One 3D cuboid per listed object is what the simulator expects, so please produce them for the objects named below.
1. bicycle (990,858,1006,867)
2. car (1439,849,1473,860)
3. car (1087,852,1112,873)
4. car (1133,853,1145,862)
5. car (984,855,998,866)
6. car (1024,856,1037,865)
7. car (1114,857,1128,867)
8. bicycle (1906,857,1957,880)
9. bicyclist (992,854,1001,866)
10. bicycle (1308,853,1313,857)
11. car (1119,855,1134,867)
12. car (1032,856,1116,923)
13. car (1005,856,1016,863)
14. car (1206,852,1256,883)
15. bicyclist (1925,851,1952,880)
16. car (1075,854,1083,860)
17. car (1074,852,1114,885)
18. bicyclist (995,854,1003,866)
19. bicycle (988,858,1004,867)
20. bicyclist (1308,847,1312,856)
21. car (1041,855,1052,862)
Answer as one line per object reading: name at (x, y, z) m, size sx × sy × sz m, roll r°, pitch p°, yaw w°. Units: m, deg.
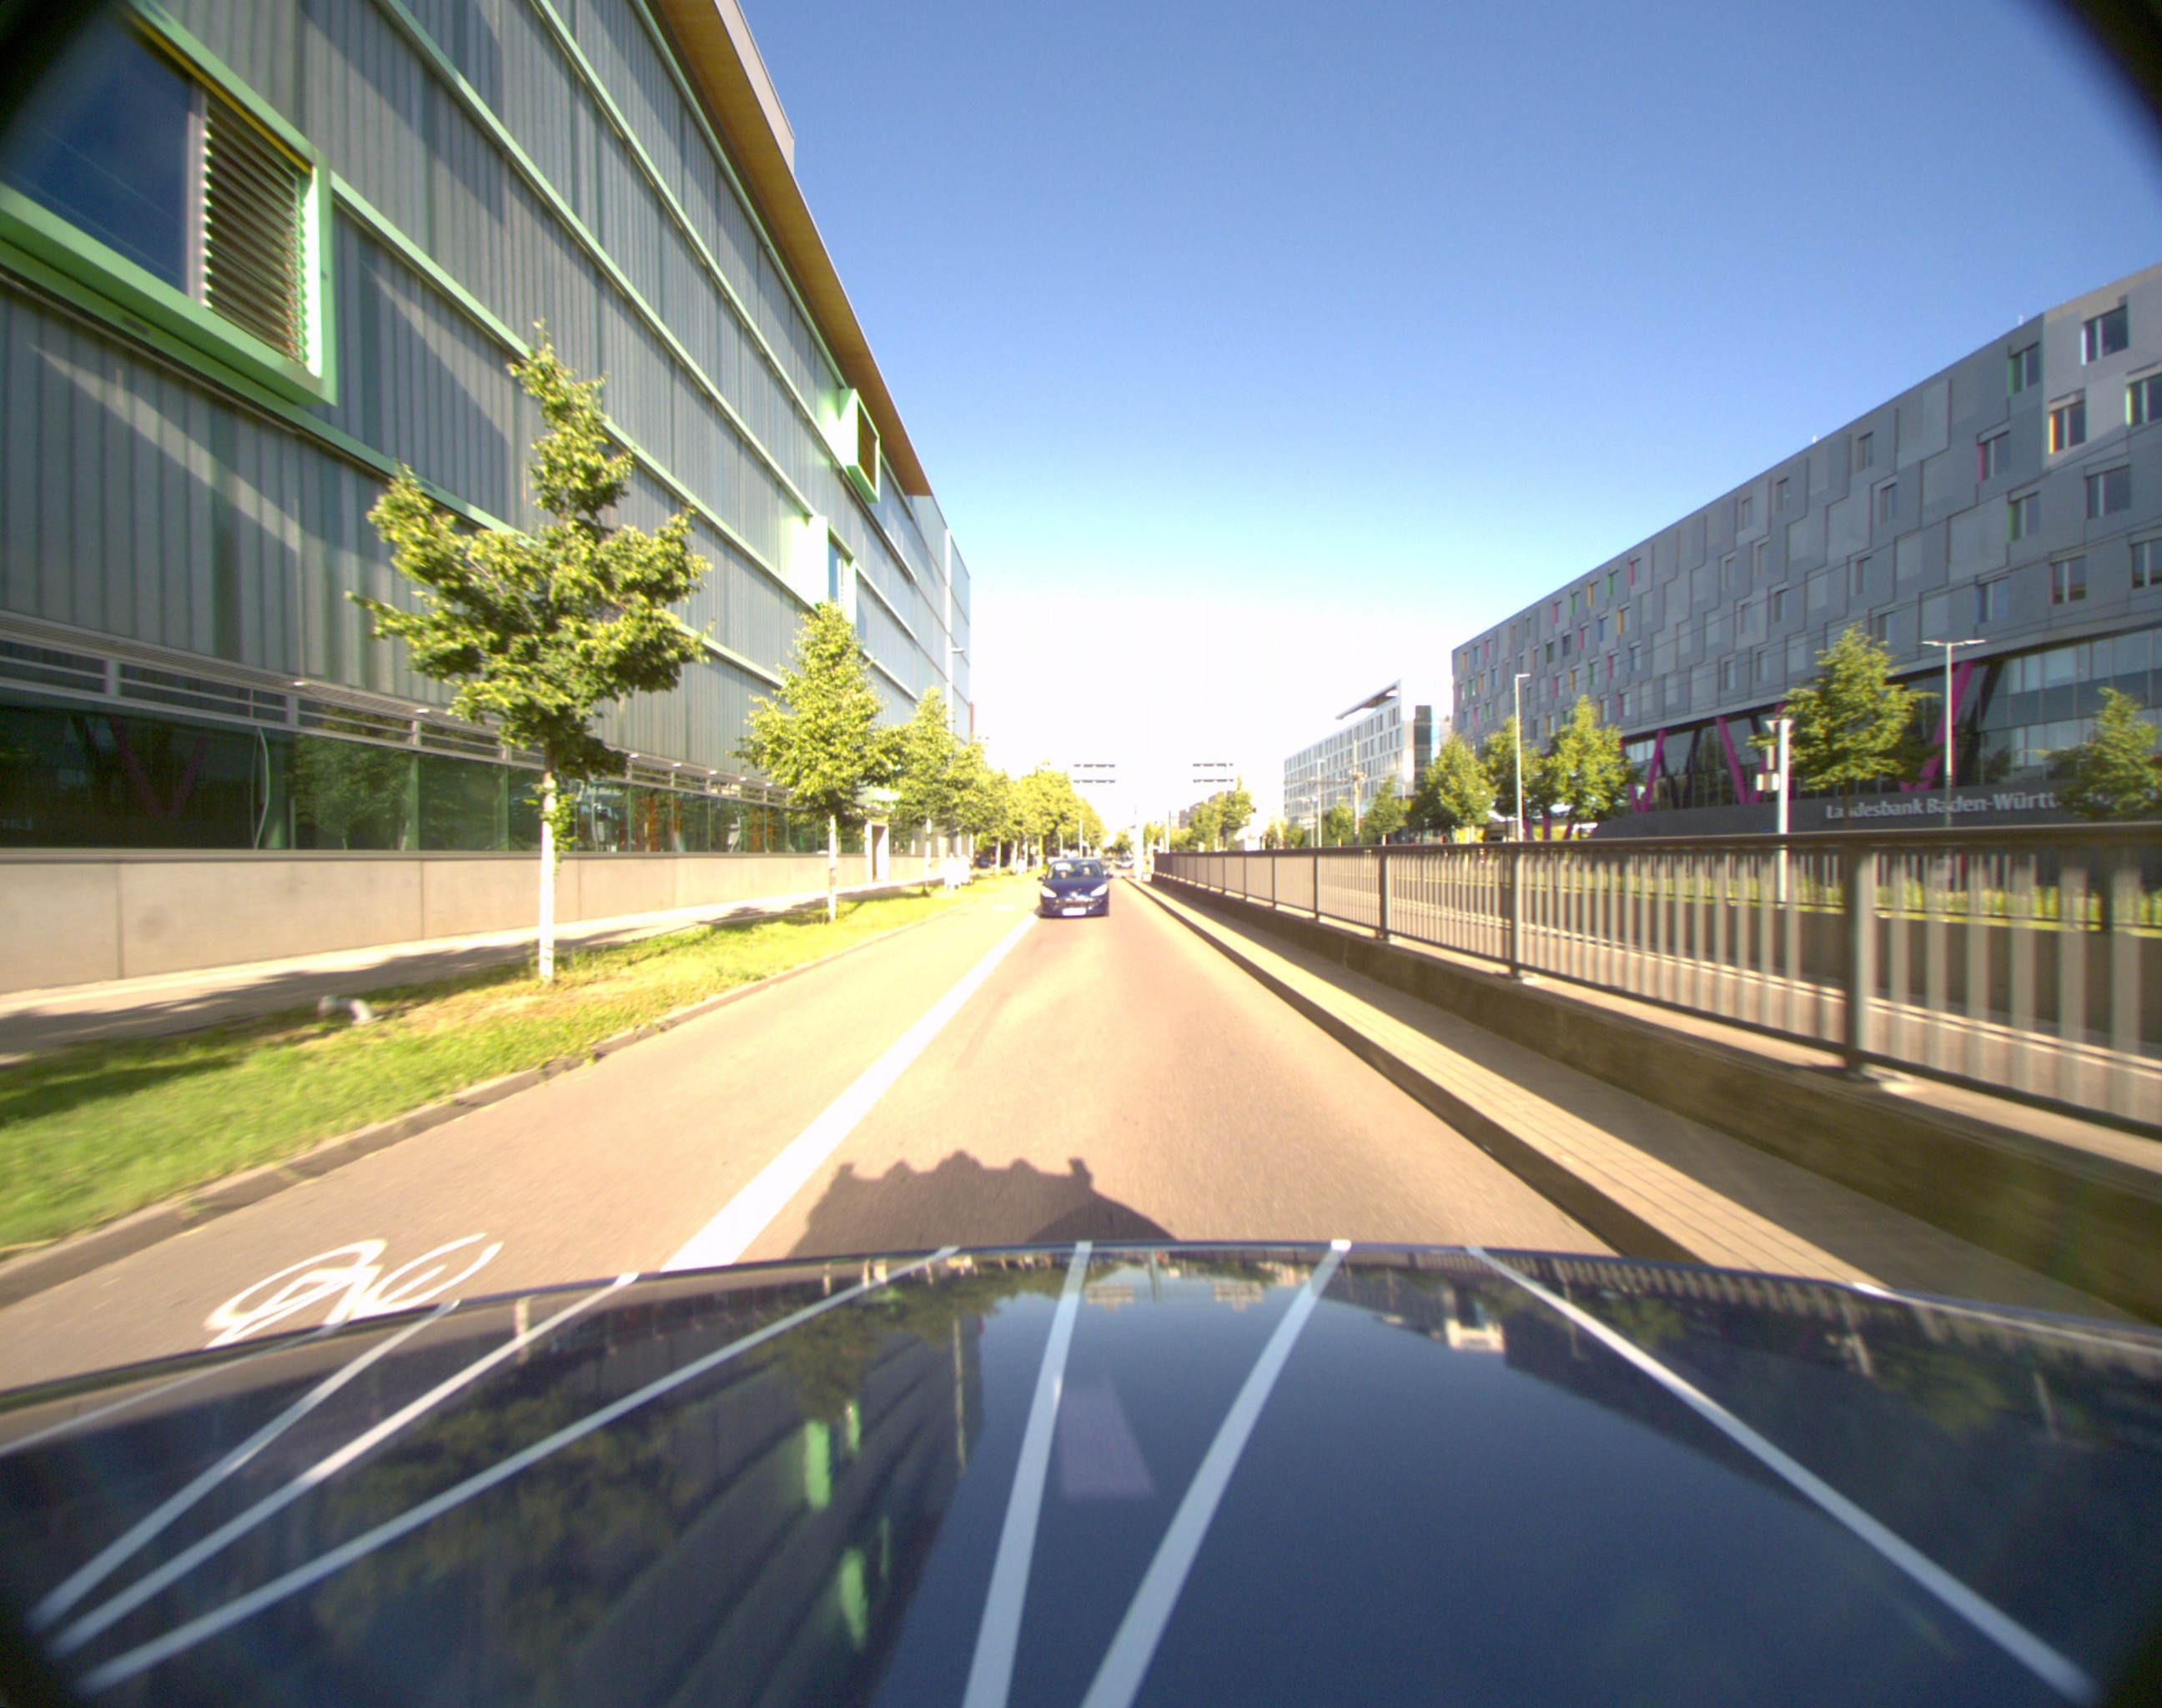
bicycle at (-11.479, 1.173, 105.243) m, size 2.100 × 1.196 × 0.552 m, roll 0°, pitch 0°, yaw 13°
car at (54.163, 0.088, 109.723) m, size 3.995 × 1.556 × 2.001 m, roll 0°, pitch 0°, yaw 4°
car at (1.473, 0.659, 60.055) m, size 1.803 × 1.518 × 4.606 m, roll -2°, pitch 0°, yaw 3°
car at (9.819, 0.567, 129.133) m, size 1.676 × 1.418 × 4.005 m, roll -2°, pitch 0°, yaw -1°
car at (-17.565, 1.186, 148.689) m, size 1.898 × 2.025 × 5.072 m, roll 1°, pitch 0°, yaw 4°
car at (-9.758, 1.239, 147.036) m, size 1.898 × 1.479 × 4.348 m, roll -1°, pitch 0°, yaw 6°
car at (6.211, 1.173, 118.620) m, size 1.840 × 1.483 × 4.005 m, roll -2°, pitch 0°, yaw -2°
bicycle at (44.993, 0.767, 40.225) m, size 0.521 × 1.166 × 1.975 m, roll 0°, pitch 0°, yaw 1°
bicyclist at (-11.598, 0.862, 104.289) m, size 0.875 × 1.644 × 0.794 m, roll 0°, pitch 0°, yaw 13°
bicycle at (45.106, 0.153, 149.534) m, size 0.529 × 0.857 × 1.834 m, roll -1°, pitch 0°, yaw 2°
car at (5.642, 0.899, 94.805) m, size 1.675 × 1.418 × 4.006 m, roll -2°, pitch 0°, yaw 2°
car at (-0.067, 0.849, 20.517) m, size 1.802 × 1.518 × 4.607 m, roll -2°, pitch 0°, yaw 5°
car at (-16.007, 1.259, 172.343) m, size 1.998 × 1.520 × 4.655 m, roll 1°, pitch 0°, yaw 1°
car at (7.992, 0.680, 40.877) m, size 1.803 × 1.518 × 4.343 m, roll -2°, pitch 0°, yaw 0°
bicyclist at (45.358, 0.603, 40.212) m, size 0.560 × 1.487 × 0.763 m, roll 0°, pitch 1°, yaw 1°
car at (-0.642, 0.879, 228.960) m, size 1.998 × 1.575 × 4.001 m, roll -1°, pitch 0°, yaw 3°
car at (0.732, 0.707, 39.736) m, size 1.802 × 1.518 × 4.606 m, roll -2°, pitch 0°, yaw 3°
bicyclist at (-11.411, 0.814, 105.202) m, size 0.875 × 1.727 × 0.833 m, roll 0°, pitch 0°, yaw 13°
bicycle at (-11.621, 1.174, 104.312) m, size 2.100 × 1.196 × 0.552 m, roll 0°, pitch 0°, yaw 16°
bicyclist at (45.104, -0.463, 149.415) m, size 0.531 × 1.716 × 0.837 m, roll -1°, pitch 0°, yaw 3°
car at (-7.508, 0.995, 166.556) m, size 1.942 × 1.372 × 3.914 m, roll -1°, pitch 0°, yaw 3°
